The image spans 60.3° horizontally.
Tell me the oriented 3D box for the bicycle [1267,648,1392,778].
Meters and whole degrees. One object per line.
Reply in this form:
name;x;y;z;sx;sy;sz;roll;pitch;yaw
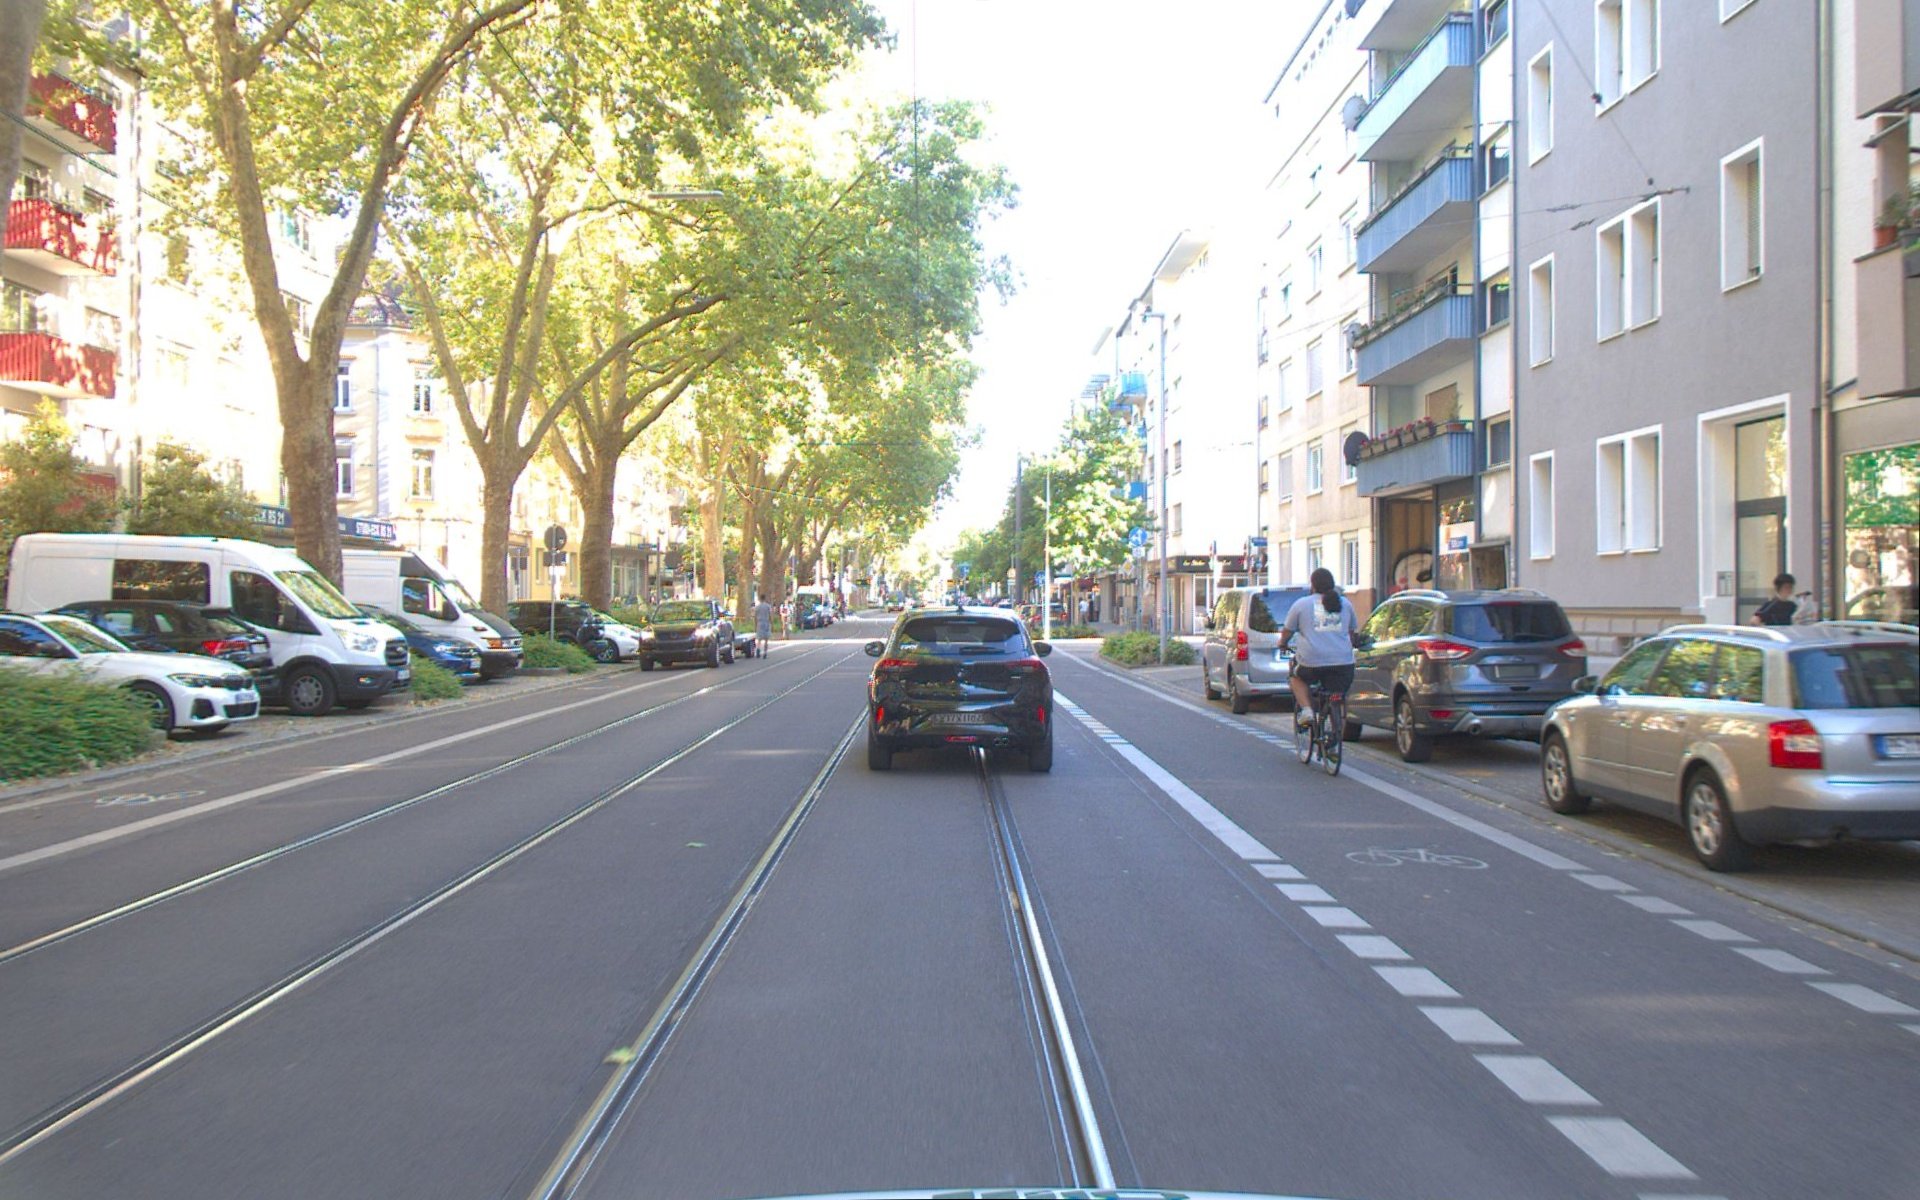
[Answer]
bicycle;3.481;1.036;15.764;0.687;1.111;1.989;2;-1;-1

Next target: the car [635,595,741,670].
car;-6.771;0.774;41.640;1.953;1.730;4.483;-2;0;-1

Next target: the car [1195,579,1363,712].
car;4.995;0.668;26.569;1.820;1.923;4.925;0;0;1

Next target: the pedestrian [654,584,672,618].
pedestrian;-14.582;0.062;81.280;0.830;1.661;0.643;0;0;-7

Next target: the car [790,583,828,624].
car;-9.844;0.229;108.047;2.050;2.629;5.995;0;0;-1

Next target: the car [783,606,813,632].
car;-9.938;1.170;101.915;1.719;1.534;3.997;0;0;-4

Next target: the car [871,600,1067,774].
car;0.042;0.754;15.951;1.646;1.447;3.626;1;0;-1

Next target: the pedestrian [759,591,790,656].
pedestrian;-5.137;0.643;45.804;0.699;1.765;0.909;-2;0;-15

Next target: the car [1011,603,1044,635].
car;3.486;0.959;85.606;1.617;1.601;3.084;0;0;1

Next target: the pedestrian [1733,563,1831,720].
pedestrian;9.319;0.460;18.767;0.741;1.750;0.720;0;0;-2

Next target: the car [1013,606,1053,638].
car;3.566;1.082;81.599;1.683;1.516;3.680;0;0;-2

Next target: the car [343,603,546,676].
car;-10.967;0.820;35.366;3.777;1.504;1.860;0;0;-2

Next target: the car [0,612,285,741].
car;-10.393;0.850;19.173;4.320;1.409;1.933;0;0;-1

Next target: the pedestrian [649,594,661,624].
pedestrian;-17.318;0.517;93.966;0.540;1.681;0.649;0;0;3

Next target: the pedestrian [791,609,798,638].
pedestrian;-9.240;1.317;92.270;0.339;1.610;0.508;0;0;-2

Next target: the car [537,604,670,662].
car;-9.854;0.899;45.892;3.363;1.557;1.786;0;0;-4

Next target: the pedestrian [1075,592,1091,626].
pedestrian;6.416;0.459;86.418;0.751;1.779;0.796;0;0;10

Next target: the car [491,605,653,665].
car;-10.255;0.907;43.929;3.907;1.548;1.770;0;0;-2

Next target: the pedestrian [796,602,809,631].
pedestrian;-8.837;0.904;92.881;0.670;1.610;0.557;0;0;-3

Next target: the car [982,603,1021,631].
car;2.513;1.019;100.539;1.954;1.668;3.996;0;0;-5

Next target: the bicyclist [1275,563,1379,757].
bicyclist;3.479;0.555;15.740;0.770;1.790;0.914;0;-1;-1

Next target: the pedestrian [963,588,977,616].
pedestrian;0.756;0.172;123.585;0.839;2.048;1.069;-4;-1;0

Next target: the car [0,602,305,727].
car;-11.148;0.812;21.795;4.282;1.566;1.872;0;0;-1

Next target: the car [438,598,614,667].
car;-10.754;0.795;41.232;3.907;1.676;1.893;0;0;-2

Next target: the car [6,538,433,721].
car;-10.596;0.410;23.972;5.251;2.521;2.056;0;0;-1

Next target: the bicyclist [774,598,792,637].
bicyclist;-7.870;0.784;73.618;0.769;1.707;0.957;0;0;-3

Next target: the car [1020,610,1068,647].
car;3.813;1.293;76.012;1.684;1.601;4.081;0;0;-5

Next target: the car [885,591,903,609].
car;-8.262;0.037;206.918;1.954;2.250;5.097;0;0;-5

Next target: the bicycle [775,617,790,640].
bicycle;-7.906;1.277;73.736;0.510;0.979;1.928;0;0;-2

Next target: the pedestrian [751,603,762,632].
pedestrian;-11.350;0.960;92.180;0.499;1.610;0.524;0;-1;-19

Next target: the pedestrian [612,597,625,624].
pedestrian;-17.887;0.558;86.622;0.540;1.427;0.649;0;0;3

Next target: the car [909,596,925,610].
car;-5.077;0.399;197.268;1.714;1.680;4.000;0;0;1

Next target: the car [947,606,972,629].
car;-0.030;1.353;128.691;1.820;1.680;4.000;0;0;1

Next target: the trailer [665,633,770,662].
trailer;-6.793;1.318;47.076;2.117;0.643;6.399;0;0;-1

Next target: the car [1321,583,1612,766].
car;5.277;0.712;17.854;1.731;1.735;4.281;0;0;-2

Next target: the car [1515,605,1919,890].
car;5.367;0.815;11.318;1.689;1.552;4.513;0;0;1

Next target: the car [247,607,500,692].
car;-10.613;0.876;30.137;3.937;1.491;1.872;0;0;0

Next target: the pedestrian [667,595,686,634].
pedestrian;-14.098;0.722;82.334;0.887;1.902;0.643;0;0;-7

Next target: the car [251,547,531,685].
car;-11.151;0.303;32.720;4.846;2.612;2.081;0;0;-4

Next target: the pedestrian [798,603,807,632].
pedestrian;-8.775;0.947;92.199;0.496;1.610;0.526;0;0;-1
